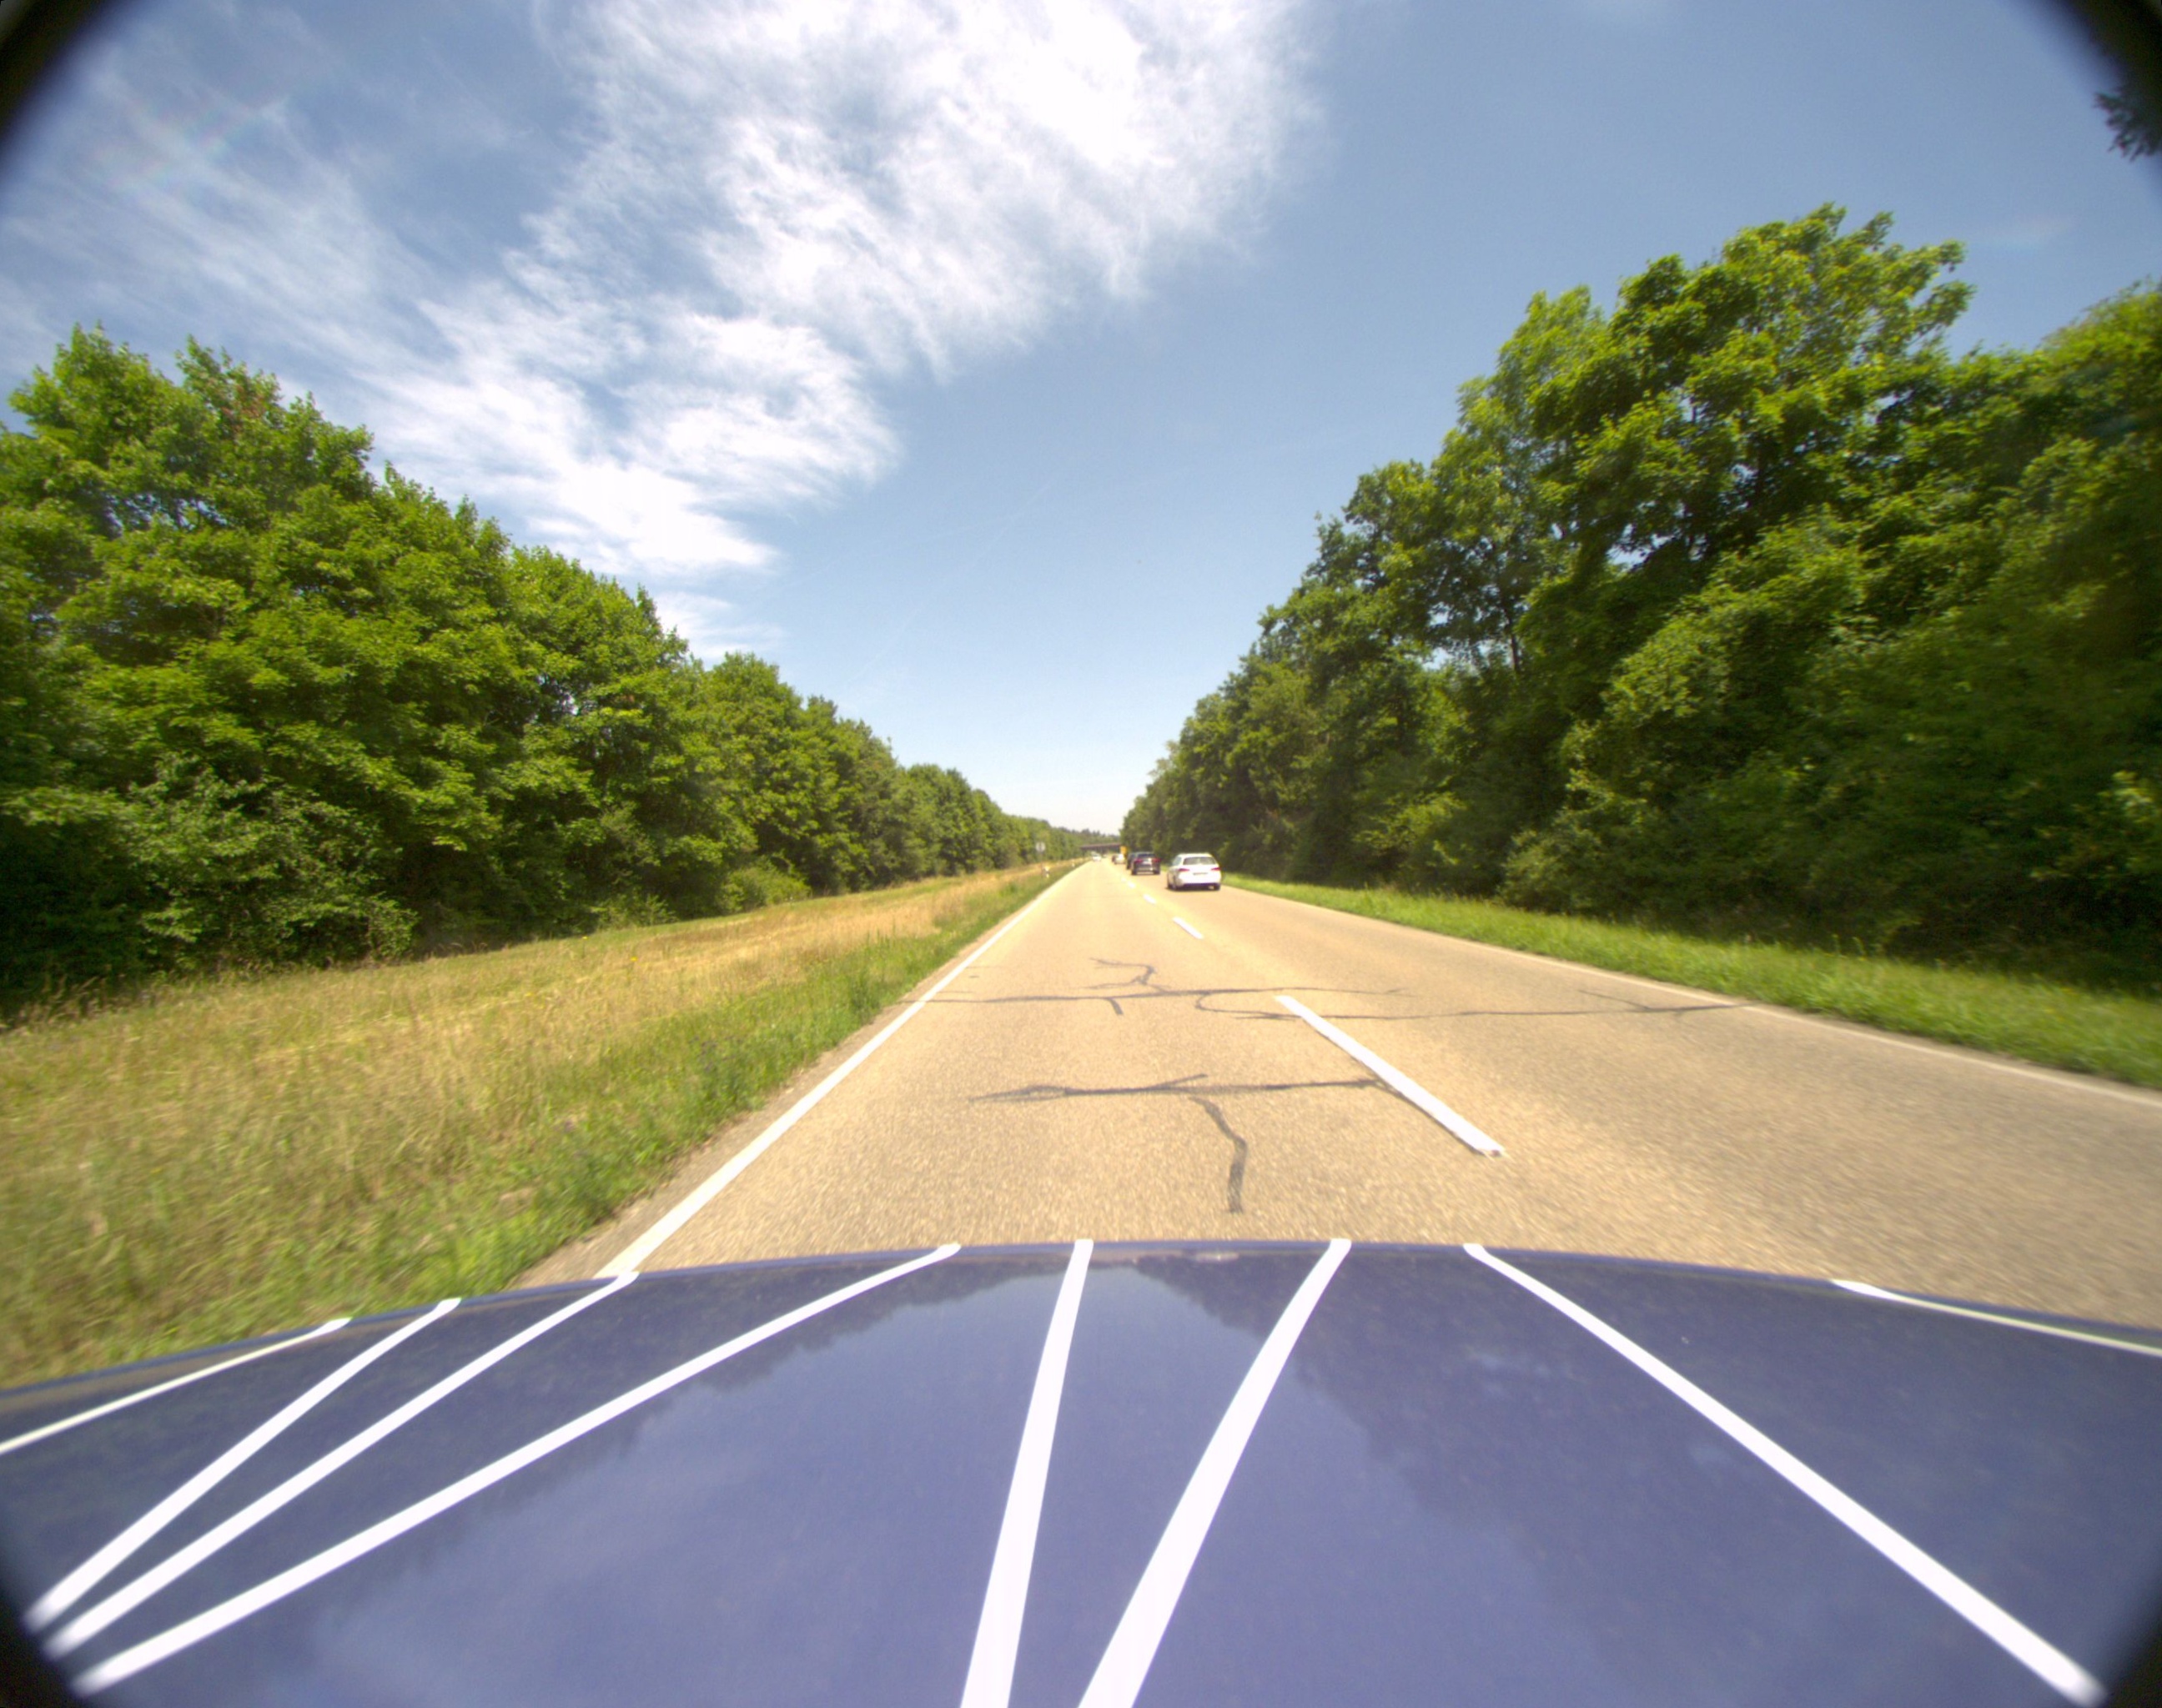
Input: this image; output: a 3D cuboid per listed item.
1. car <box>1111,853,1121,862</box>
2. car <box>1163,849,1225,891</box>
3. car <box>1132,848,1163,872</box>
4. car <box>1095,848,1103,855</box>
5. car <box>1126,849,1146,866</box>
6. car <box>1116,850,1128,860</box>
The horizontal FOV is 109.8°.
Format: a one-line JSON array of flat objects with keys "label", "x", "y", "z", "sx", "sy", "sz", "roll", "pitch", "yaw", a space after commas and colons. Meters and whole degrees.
[{"label": "car", "x": 7.265, "y": 0.712, "z": 156.831, "sx": 1.891, "sy": 1.651, "sz": 3.705, "roll": -2, "pitch": 0, "yaw": 1}, {"label": "car", "x": 4.535, "y": 0.588, "z": 31.098, "sx": 1.844, "sy": 1.527, "sz": 4.658, "roll": -2, "pitch": 0, "yaw": 0}, {"label": "car", "x": 4.722, "y": 0.413, "z": 54.462, "sx": 1.870, "sy": 1.615, "sz": 4.200, "roll": -2, "pitch": 0, "yaw": 0}, {"label": "car", "x": 4.345, "y": -0.629, "z": 188.074, "sx": 1.865, "sy": 1.747, "sz": 3.999, "roll": -2, "pitch": 1, "yaw": 0}, {"label": "car", "x": 5.419, "y": 0.355, "z": 75.496, "sx": 1.756, "sy": 1.595, "sz": 4.440, "roll": -2, "pitch": 1, "yaw": 1}, {"label": "car", "x": 6.360, "y": 0.155, "z": 117.710, "sx": 1.671, "sy": 1.487, "sz": 3.684, "roll": -2, "pitch": 1, "yaw": 1}]
